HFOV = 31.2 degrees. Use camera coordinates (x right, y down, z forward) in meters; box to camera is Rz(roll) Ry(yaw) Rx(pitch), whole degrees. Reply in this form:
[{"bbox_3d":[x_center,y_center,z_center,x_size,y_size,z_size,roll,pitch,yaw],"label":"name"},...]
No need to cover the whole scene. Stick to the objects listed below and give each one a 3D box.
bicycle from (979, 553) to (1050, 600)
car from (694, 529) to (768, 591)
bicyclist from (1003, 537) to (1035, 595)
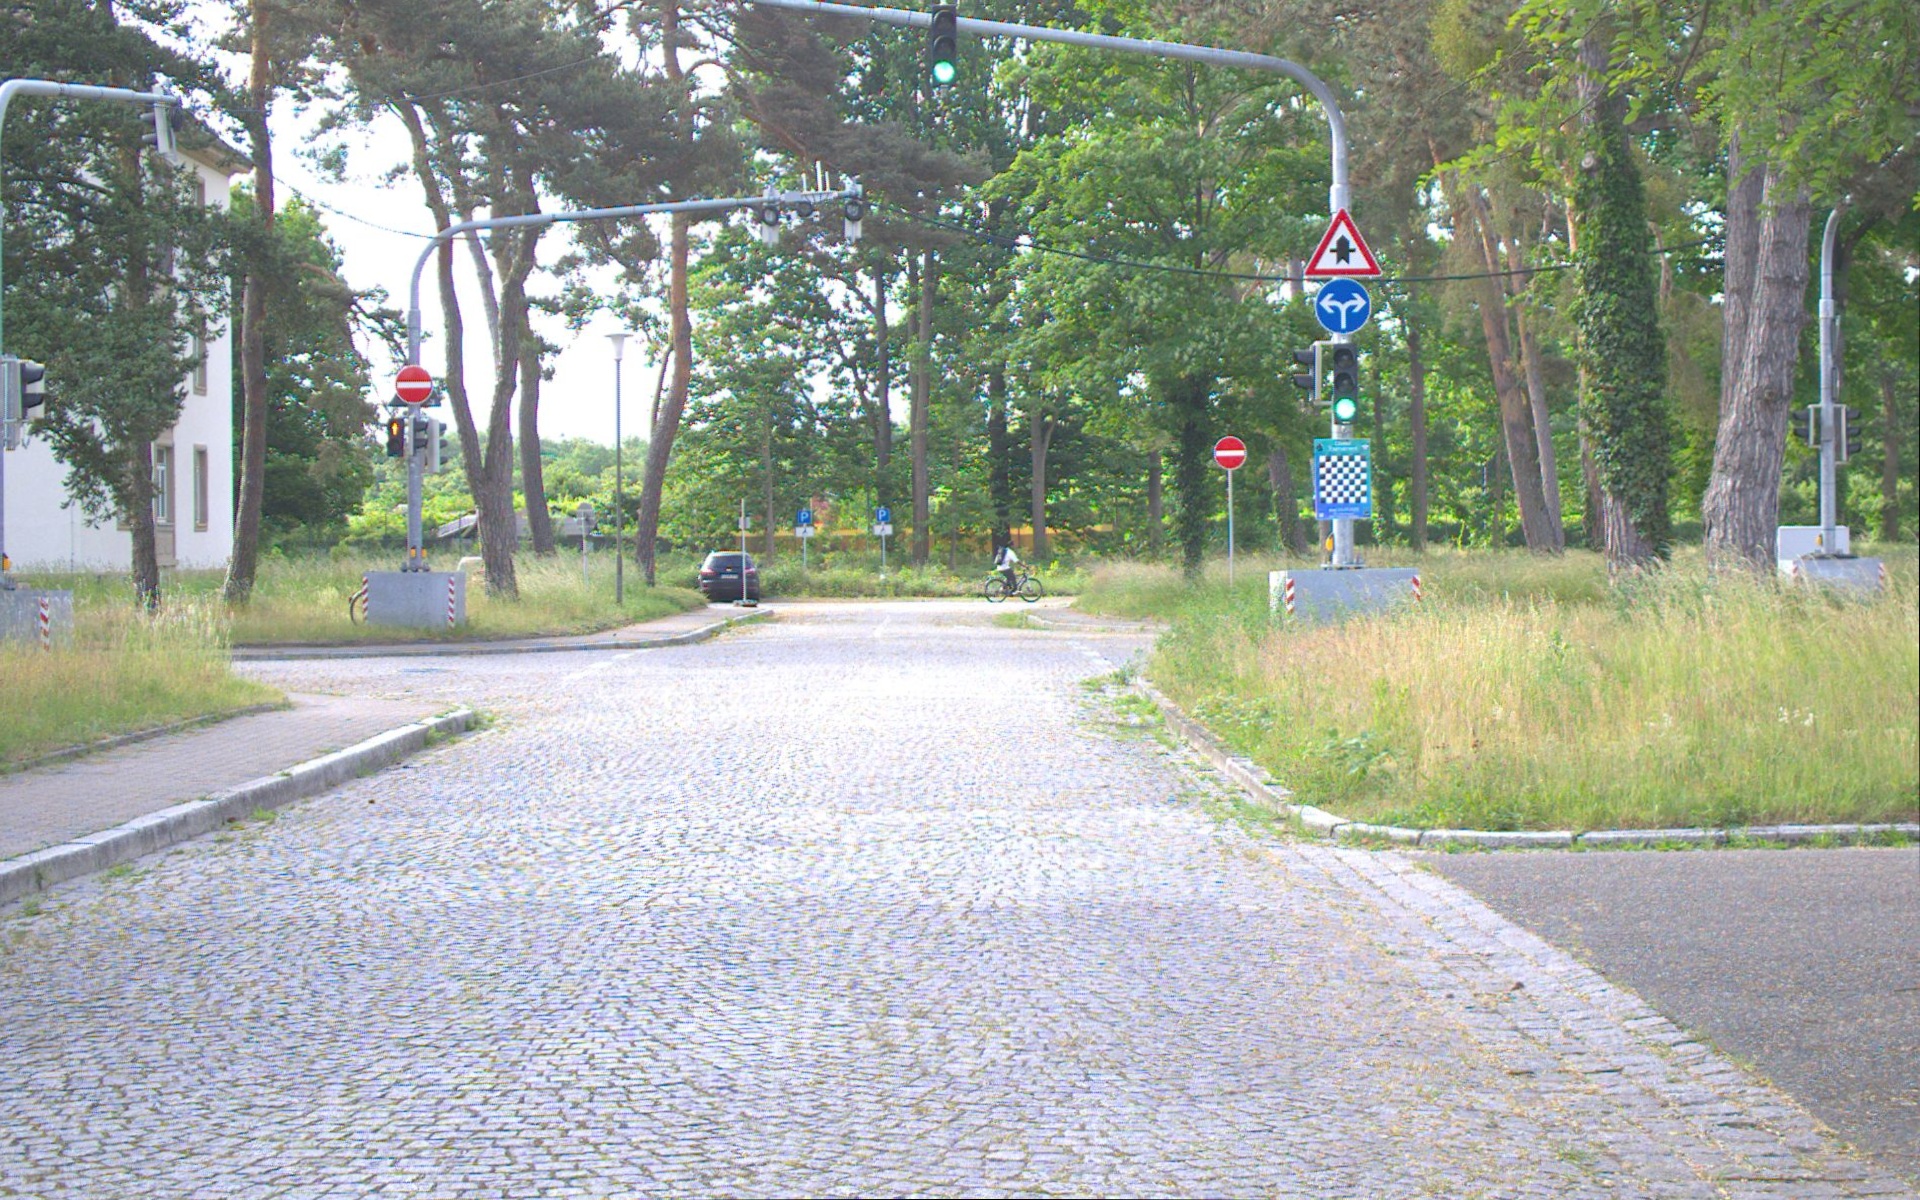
[{"bbox_3d":[1.580,-0.678,99.347,1.968,1.316,0.518,1,0,-22],"label":"bicycle"},{"bbox_3d":[-6.932,-1.225,104.376,2.056,1.840,4.000,-1,1,-1],"label":"car"},{"bbox_3d":[1.704,-0.991,99.368,0.748,1.665,0.526,1,0,-23],"label":"bicyclist"}]
